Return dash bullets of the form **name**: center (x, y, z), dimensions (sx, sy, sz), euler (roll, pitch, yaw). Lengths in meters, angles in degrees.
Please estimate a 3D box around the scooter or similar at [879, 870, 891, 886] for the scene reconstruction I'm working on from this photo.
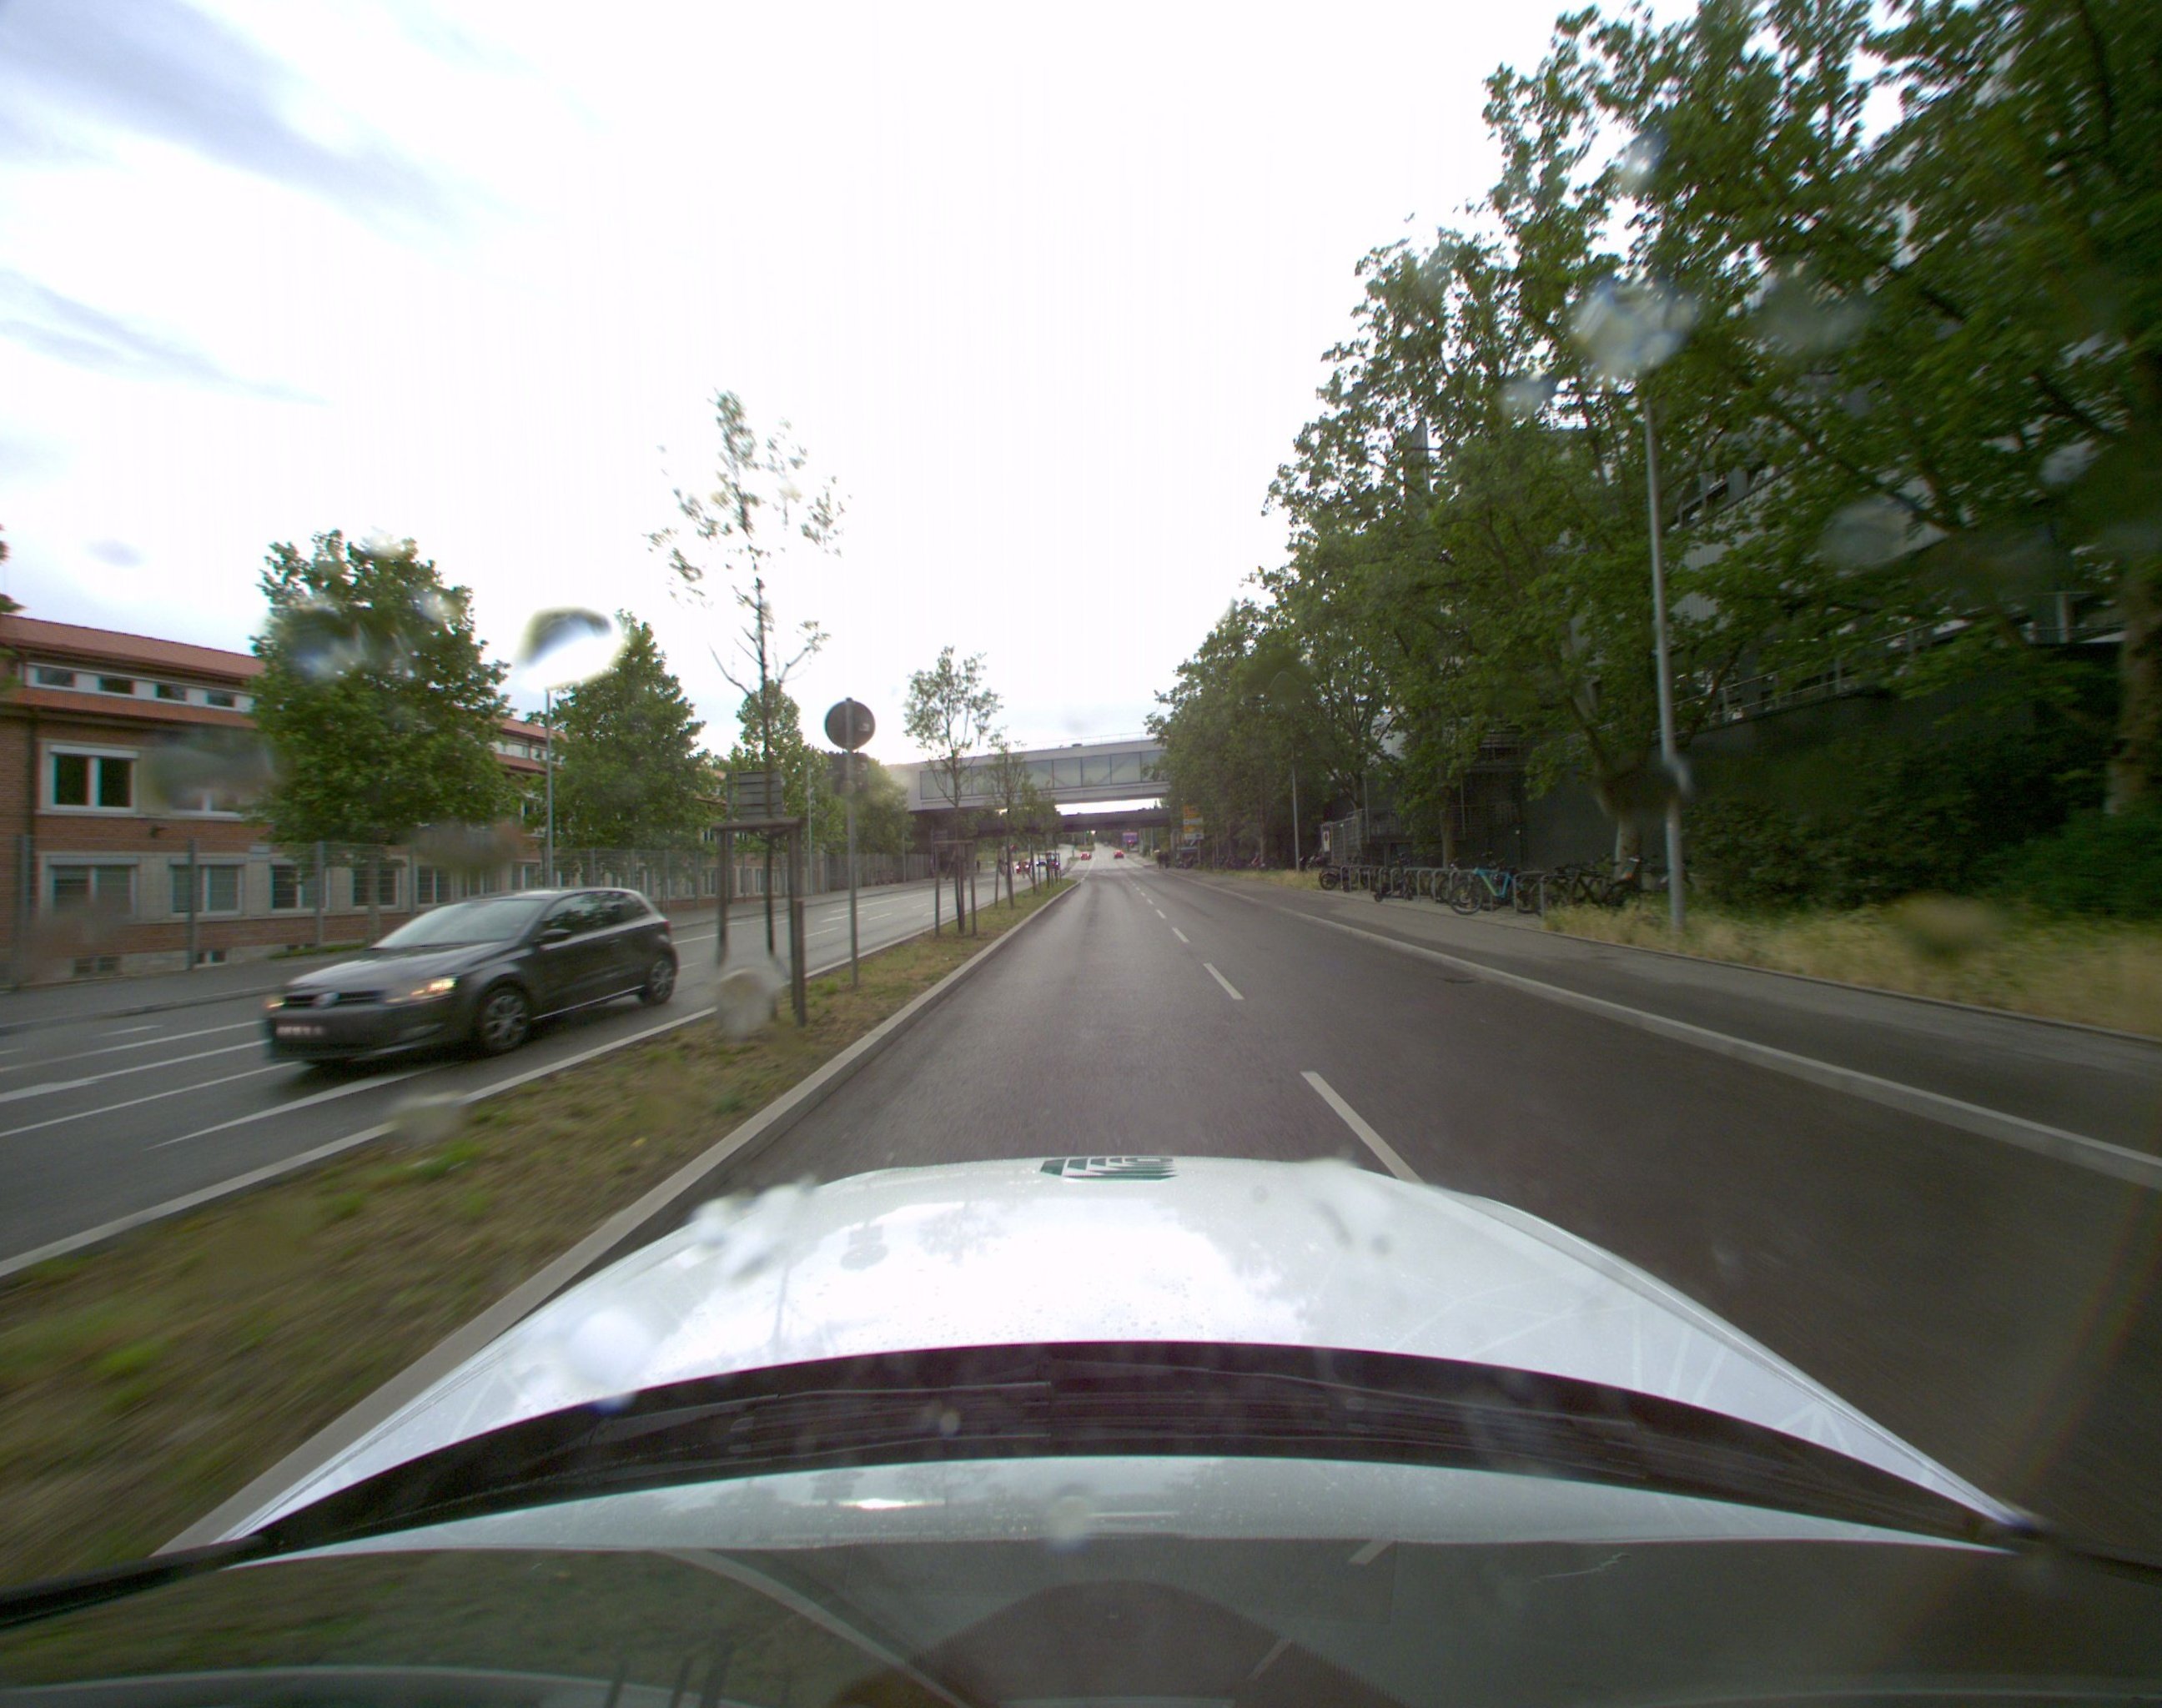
- **scooter or similar**: center (-16.204, 1.991, 67.251), dimensions (0.309, 1.218, 1.312), euler (-3, 0, 13)

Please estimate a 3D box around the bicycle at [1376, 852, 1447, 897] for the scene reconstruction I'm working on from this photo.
- **bicycle**: center (9.360, 0.573, 23.076), dimensions (1.785, 1.167, 0.447), euler (-3, -1, -5)

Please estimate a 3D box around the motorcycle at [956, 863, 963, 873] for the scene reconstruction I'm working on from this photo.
- **motorcycle**: center (-15.177, 1.795, 101.679), dimensions (0.466, 1.158, 1.935), euler (-3, 0, 5)

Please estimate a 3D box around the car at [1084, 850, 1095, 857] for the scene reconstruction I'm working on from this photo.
- **car**: center (1.898, -0.096, 176.173), dimensions (2.157, 1.583, 4.668), euler (-1, -1, 3)

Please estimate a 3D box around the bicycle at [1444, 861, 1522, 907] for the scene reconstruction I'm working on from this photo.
- **bicycle**: center (9.256, 0.683, 18.771), dimensions (1.546, 0.958, 0.393), euler (-3, -1, 1)

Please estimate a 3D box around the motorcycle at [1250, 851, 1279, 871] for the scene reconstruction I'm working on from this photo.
- **motorcycle**: center (10.812, 0.429, 48.036), dimensions (1.643, 1.150, 0.494), euler (-1, -1, 9)

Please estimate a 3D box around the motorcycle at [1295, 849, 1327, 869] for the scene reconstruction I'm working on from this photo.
- **motorcycle**: center (14.433, 0.334, 51.158), dimensions (1.904, 1.257, 0.492), euler (-1, -1, 7)

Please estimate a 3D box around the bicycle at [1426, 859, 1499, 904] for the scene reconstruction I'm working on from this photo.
- **bicycle**: center (9.285, 0.662, 19.832), dimensions (1.546, 1.005, 0.393), euler (-3, -1, 1)

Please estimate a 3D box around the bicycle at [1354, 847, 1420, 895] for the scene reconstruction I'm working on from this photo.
- **bicycle**: center (9.333, 0.516, 24.864), dimensions (1.859, 1.348, 0.446), euler (-3, -1, -11)

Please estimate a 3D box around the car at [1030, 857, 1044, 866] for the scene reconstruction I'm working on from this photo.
- **car**: center (-7.331, 1.167, 136.288), dimensions (2.057, 1.361, 4.756), euler (-3, 0, 0)

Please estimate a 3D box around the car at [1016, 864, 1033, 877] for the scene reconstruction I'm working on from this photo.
- **car**: center (-6.936, 1.989, 100.940), dimensions (1.710, 1.437, 3.772), euler (-4, -1, 0)

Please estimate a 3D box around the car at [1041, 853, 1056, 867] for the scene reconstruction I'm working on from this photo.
- **car**: center (-4.258, 0.804, 105.740), dimensions (1.579, 1.605, 3.856), euler (-4, -1, 1)

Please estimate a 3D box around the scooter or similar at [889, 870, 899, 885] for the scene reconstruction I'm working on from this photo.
- **scooter or similar**: center (-16.048, 1.978, 69.929), dimensions (0.310, 1.218, 1.310), euler (-3, 0, 6)

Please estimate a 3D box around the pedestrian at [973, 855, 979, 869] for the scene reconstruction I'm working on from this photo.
- **pedestrian**: center (-13.941, 1.101, 108.489), dimensions (0.516, 1.816, 0.802), euler (-2, 0, 11)

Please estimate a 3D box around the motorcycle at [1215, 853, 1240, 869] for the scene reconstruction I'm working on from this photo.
- **motorcycle**: center (12.074, 0.559, 67.093), dimensions (1.851, 1.253, 0.627), euler (-3, 0, -14)

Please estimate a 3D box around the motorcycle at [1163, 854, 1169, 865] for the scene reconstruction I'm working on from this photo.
- **motorcycle**: center (8.712, 0.573, 83.507), dimensions (0.468, 1.136, 1.819), euler (-3, 0, 1)

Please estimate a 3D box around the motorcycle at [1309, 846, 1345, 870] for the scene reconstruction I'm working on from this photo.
- **motorcycle**: center (14.229, 0.230, 47.167), dimensions (1.924, 1.365, 0.505), euler (0, -1, -4)

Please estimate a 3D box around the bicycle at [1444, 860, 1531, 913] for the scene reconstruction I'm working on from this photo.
- **bicycle**: center (8.398, 0.675, 16.860), dimensions (1.546, 1.005, 0.393), euler (-3, -1, 1)

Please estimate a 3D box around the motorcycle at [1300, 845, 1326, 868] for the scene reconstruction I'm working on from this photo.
- **motorcycle**: center (14.002, 0.155, 49.146), dimensions (0.509, 1.365, 1.485), euler (0, -1, -41)

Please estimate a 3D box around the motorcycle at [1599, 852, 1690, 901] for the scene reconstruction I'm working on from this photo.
- **motorcycle**: center (12.735, 0.513, 18.428), dimensions (1.602, 1.001, 0.577), euler (-3, -1, 1)

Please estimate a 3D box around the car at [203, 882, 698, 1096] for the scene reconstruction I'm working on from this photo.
- **car**: center (-5.674, 1.077, 8.128), dimensions (1.572, 1.404, 4.113), euler (-3, -1, 2)

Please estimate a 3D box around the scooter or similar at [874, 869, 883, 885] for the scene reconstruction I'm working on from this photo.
- **scooter or similar**: center (-16.186, 1.841, 65.236), dimensions (0.310, 1.218, 1.308), euler (-3, 0, 2)

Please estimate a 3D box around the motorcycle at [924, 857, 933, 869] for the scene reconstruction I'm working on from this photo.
- **motorcycle**: center (-16.313, 0.938, 87.179), dimensions (0.467, 1.205, 1.997), euler (-3, 0, 1)

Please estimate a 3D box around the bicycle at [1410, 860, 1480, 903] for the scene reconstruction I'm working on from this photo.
- **bicycle**: center (9.229, 0.689, 20.654), dimensions (1.546, 1.005, 0.393), euler (-3, -1, 1)

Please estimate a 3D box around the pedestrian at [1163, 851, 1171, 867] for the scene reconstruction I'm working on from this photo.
- **pedestrian**: center (8.818, 0.517, 83.407), dimensions (0.646, 1.596, 0.581), euler (-3, -1, 13)

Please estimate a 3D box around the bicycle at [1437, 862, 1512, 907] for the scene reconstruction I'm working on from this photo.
- **bicycle**: center (9.266, 0.719, 19.196), dimensions (1.546, 0.958, 0.393), euler (-3, -1, 1)

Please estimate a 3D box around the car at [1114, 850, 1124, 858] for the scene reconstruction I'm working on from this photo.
- **car**: center (7.671, 0.007, 164.099), dimensions (1.739, 1.470, 4.167), euler (-2, 1, 1)

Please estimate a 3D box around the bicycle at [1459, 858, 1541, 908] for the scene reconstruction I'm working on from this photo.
- **bicycle**: center (9.171, 0.631, 17.851), dimensions (1.546, 1.005, 0.393), euler (-3, -1, 1)

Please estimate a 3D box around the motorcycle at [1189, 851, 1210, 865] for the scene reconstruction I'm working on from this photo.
- **motorcycle**: center (11.762, 0.380, 80.801), dimensions (1.919, 1.297, 0.551), euler (-3, -1, 36)

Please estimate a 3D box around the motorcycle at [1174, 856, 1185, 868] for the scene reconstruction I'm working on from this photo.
- **motorcycle**: center (10.040, 0.813, 82.910), dimensions (0.469, 1.213, 1.937), euler (-3, 0, -10)

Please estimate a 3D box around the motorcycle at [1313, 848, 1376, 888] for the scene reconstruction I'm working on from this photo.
- **motorcycle**: center (9.219, 0.493, 28.520), dimensions (1.994, 1.273, 0.443), euler (-3, -1, 13)

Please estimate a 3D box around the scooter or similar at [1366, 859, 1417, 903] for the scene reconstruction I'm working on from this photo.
- **scooter or similar**: center (8.312, 0.711, 21.787), dimensions (1.210, 1.091, 0.312), euler (-3, -1, -3)

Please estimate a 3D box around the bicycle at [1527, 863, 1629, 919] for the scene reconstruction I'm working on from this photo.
- **bicycle**: center (9.165, 0.671, 15.045), dimensions (1.601, 0.939, 0.387), euler (-3, -1, 1)

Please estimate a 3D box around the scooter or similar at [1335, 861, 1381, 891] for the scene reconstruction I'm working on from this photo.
- **scooter or similar**: center (9.221, 0.728, 27.109), dimensions (1.476, 0.937, 0.364), euler (-3, -1, -16)

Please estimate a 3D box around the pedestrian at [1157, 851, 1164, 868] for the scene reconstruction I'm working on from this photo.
- **pedestrian**: center (8.161, 0.578, 83.582), dimensions (0.607, 1.721, 0.895), euler (-3, 0, 11)

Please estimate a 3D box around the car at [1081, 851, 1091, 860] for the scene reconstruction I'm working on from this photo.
- **car**: center (1.029, 0.236, 164.736), dimensions (2.070, 1.718, 4.197), euler (0, -1, -1)

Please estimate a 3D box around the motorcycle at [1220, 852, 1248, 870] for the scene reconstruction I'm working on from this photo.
- **motorcycle**: center (10.929, 0.530, 58.058), dimensions (1.851, 1.191, 0.519), euler (-3, 0, -14)
